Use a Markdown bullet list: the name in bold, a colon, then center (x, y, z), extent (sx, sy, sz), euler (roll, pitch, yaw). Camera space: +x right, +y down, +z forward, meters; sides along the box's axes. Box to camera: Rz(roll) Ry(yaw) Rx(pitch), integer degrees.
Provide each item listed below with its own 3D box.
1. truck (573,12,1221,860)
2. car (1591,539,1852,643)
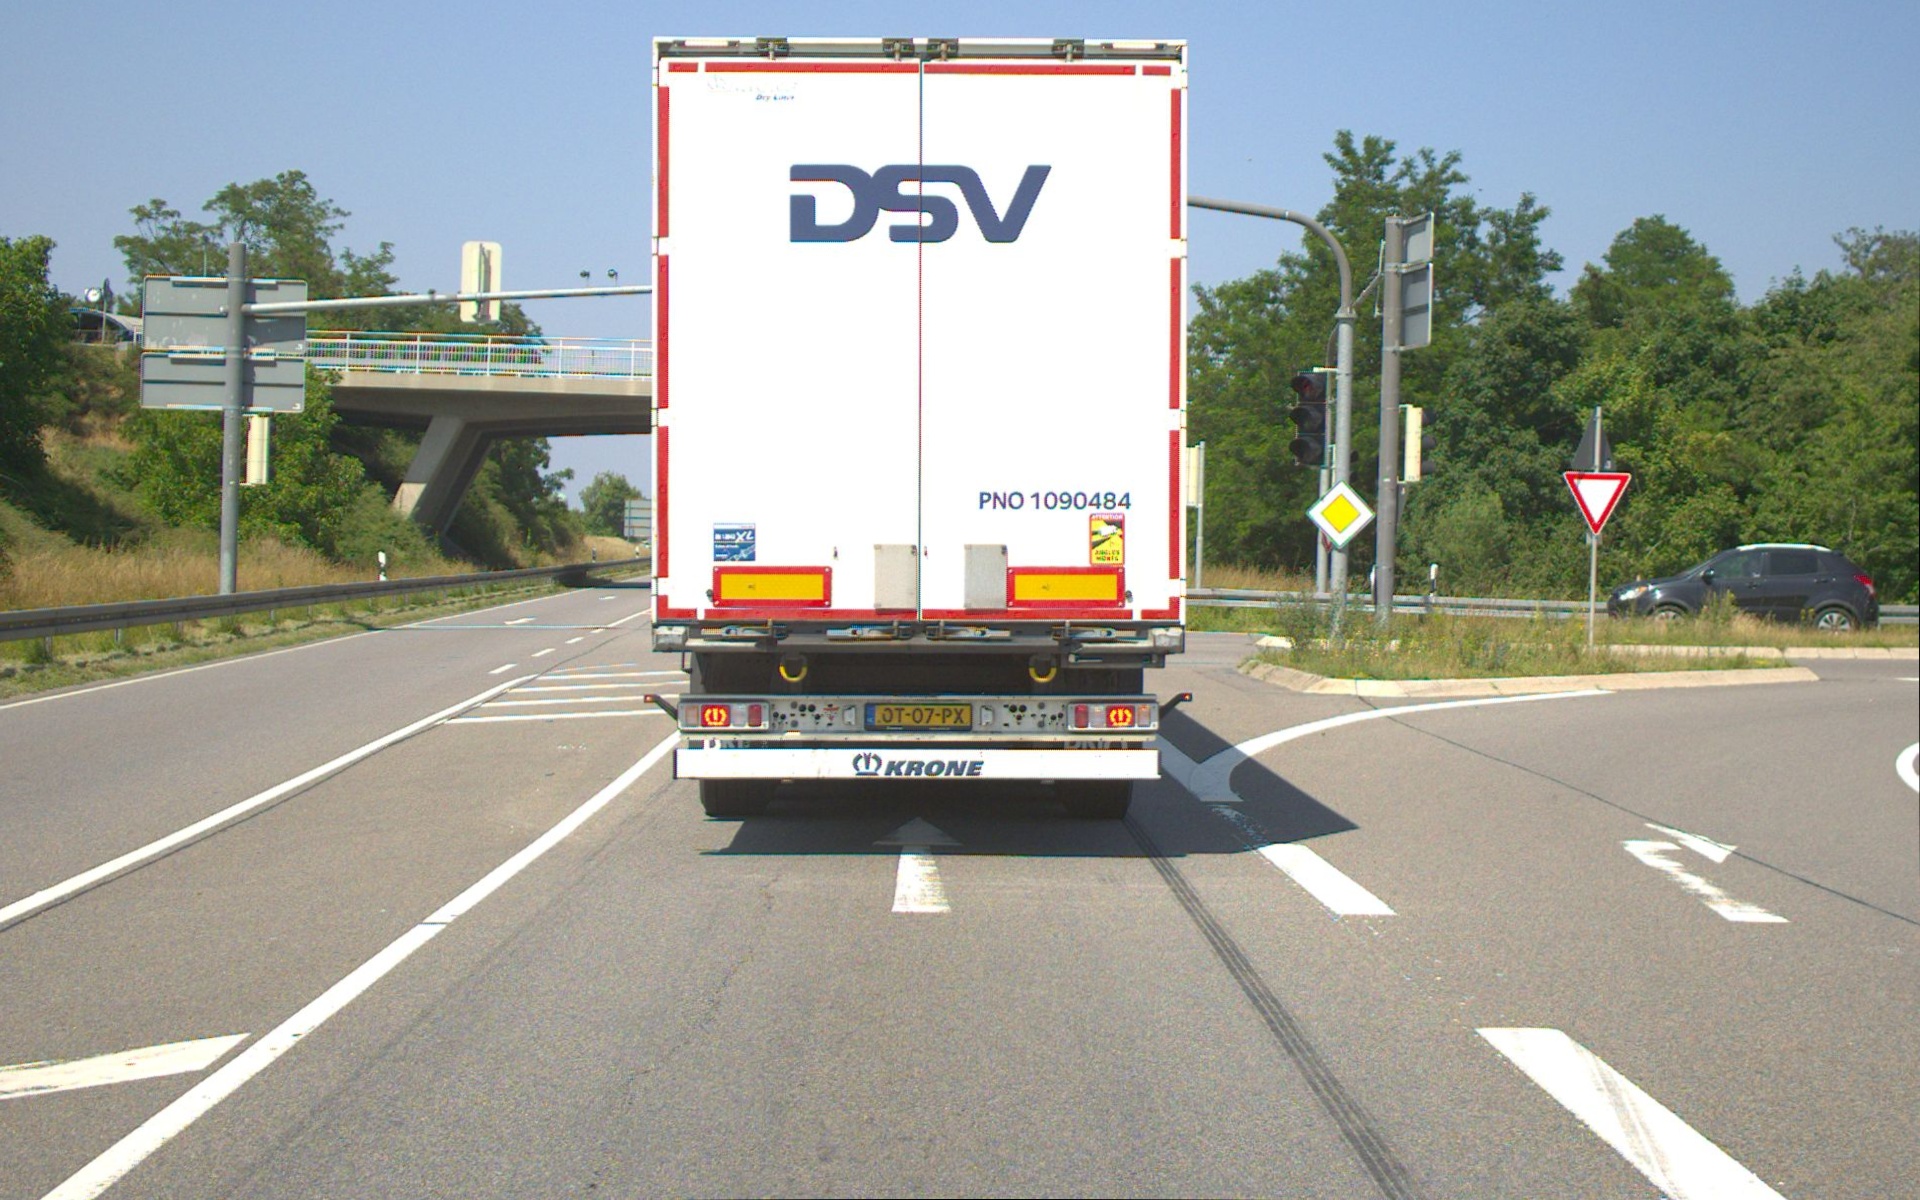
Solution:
- **truck**: center (-0.345, -0.818, 20.994), extent (2.987, 3.928, 9.876), euler (1, 1, -1)
- **car**: center (12.462, -0.150, 56.442), extent (3.986, 1.634, 1.841), euler (1, 0, 6)
